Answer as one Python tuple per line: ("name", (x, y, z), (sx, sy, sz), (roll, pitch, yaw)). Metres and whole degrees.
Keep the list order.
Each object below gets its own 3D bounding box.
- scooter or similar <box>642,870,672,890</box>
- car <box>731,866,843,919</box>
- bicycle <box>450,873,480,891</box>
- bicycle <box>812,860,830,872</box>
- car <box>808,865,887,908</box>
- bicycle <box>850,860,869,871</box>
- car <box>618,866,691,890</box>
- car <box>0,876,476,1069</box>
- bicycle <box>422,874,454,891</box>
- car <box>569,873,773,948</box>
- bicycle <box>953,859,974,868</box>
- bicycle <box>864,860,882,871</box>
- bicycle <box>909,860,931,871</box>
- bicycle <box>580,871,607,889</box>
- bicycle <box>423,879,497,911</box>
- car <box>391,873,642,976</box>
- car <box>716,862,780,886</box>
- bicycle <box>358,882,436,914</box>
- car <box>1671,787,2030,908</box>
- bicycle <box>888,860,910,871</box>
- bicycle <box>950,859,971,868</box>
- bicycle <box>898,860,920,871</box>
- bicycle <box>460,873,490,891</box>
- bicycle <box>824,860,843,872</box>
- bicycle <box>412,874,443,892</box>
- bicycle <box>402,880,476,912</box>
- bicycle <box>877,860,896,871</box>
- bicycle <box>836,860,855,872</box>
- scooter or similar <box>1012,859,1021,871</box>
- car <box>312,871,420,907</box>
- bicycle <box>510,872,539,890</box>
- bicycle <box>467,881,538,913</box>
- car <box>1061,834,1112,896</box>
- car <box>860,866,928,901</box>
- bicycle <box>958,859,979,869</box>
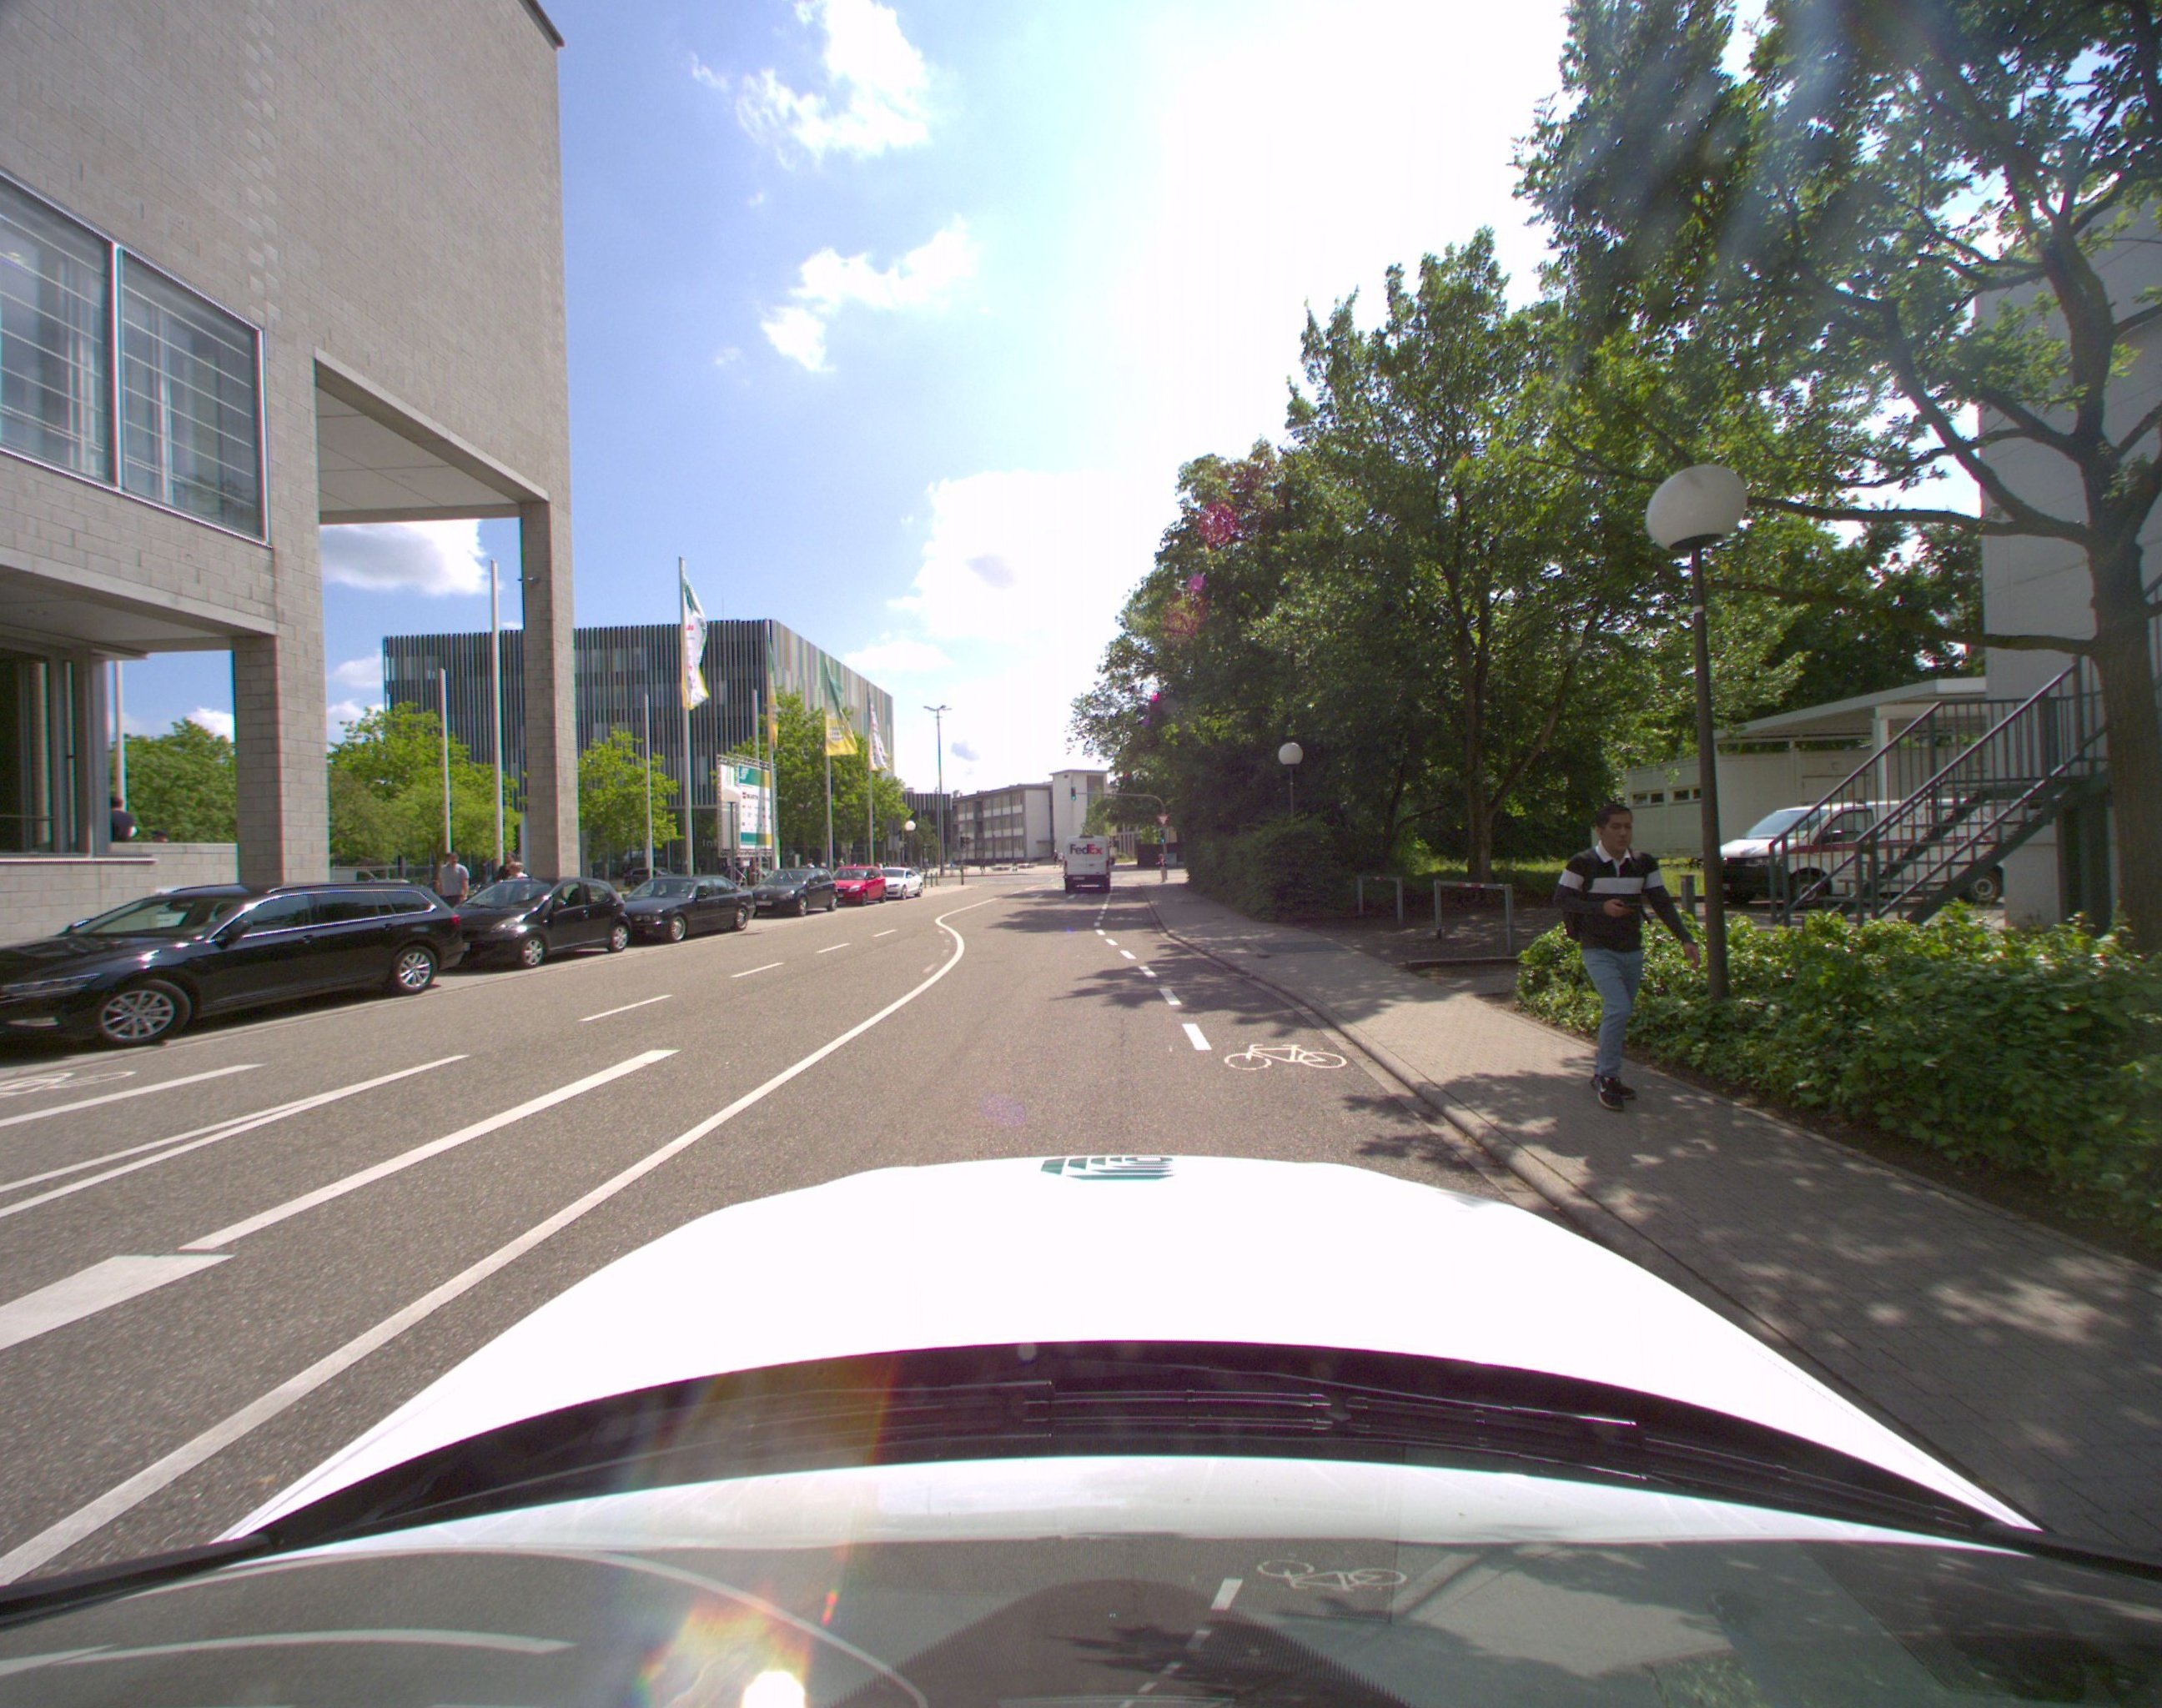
("scooter or similar", (-26.759, 1.649, 51.381), (1.719, 1.196, 0.494), (-2, 0, 8))
("car", (-9.171, 1.148, 25.822), (1.740, 1.467, 4.201), (0, 0, 4))
("bicycle", (-68.290, 3.108, 90.267), (0.955, 1.838, 2.954), (-1, -1, 4))
("bicycle", (-28.748, 1.307, 90.079), (1.205, 1.237, 2.921), (-1, -1, -32))
("car", (-8.809, 1.201, 31.039), (1.669, 1.467, 3.914), (0, 0, 3))
("bicycle", (-25.422, 1.329, 93.386), (1.205, 1.237, 2.920), (-1, -1, -34))
("car", (-33.162, 1.848, 63.384), (4.788, 1.661, 1.654), (-2, 0, 3))
("car", (-9.541, 1.040, 9.108), (1.852, 1.467, 4.722), (0, 0, 3))
("bicycle", (-71.319, 3.159, 90.359), (0.955, 1.838, 2.954), (-1, -1, 4))
("car", (-9.189, 1.184, 18.874), (1.851, 1.378, 5.022), (0, 0, 4))
("bicycle", (-18.455, 1.555, 127.811), (2.978, 1.363, 1.105), (-1, -1, -35))
("bicycle", (-24.053, 1.335, 94.121), (1.205, 1.237, 2.920), (-1, -1, -34))
("bicycle", (-19.309, 1.398, 97.706), (1.207, 1.237, 2.915), (0, -1, -43))
("bicycle", (-53.375, 2.847, 89.156), (0.954, 1.838, 2.956), (-1, -1, 6))
("bicycle", (-30.082, 1.955, 39.534), (1.009, 1.411, 2.958), (-1, 0, 8))
("car", (-9.510, 1.108, 14.136), (1.632, 1.467, 3.709), (0, 0, 3))
("car", (-25.788, 1.562, 63.125), (4.263, 1.661, 1.655), (-2, 0, 3))
("bicycle", (-33.496, 2.150, 39.944), (1.056, 1.411, 2.958), (-1, 0, 8))
("car", (14.548, -0.103, 15.672), (4.805, 2.013, 2.063), (-2, 0, 3))
("bicycle", (-21.503, 1.371, 96.075), (1.207, 1.237, 2.915), (0, -1, -43))
("bicycle", (-19.095, 1.576, 129.017), (2.978, 1.363, 1.105), (-1, -1, -35))
("bicycle", (-20.522, 1.378, 96.952), (1.207, 1.237, 2.915), (0, -1, -43))
("bicycle", (-67.129, 3.087, 90.194), (0.955, 1.838, 2.954), (-1, -1, 4))
("bicycle", (-27.683, 1.353, 91.097), (1.205, 1.237, 2.921), (-1, -1, -33))
("bicycle", (-72.502, 3.180, 90.398), (0.955, 1.838, 2.954), (-1, -1, 4))
("bicycle", (-31.226, 2.005, 39.698), (1.009, 1.411, 2.958), (-1, 0, 8))
("bicycle", (-22.782, 1.358, 95.526), (1.206, 1.237, 2.919), (-1, -1, -34))
("bicycle", (-26.568, 1.347, 91.848), (1.205, 1.237, 2.921), (-1, -1, -32))
("scooter or similar", (-6.467, 1.135, 82.057), (0.716, 1.178, 2.718), (-2, 0, -8))
("car", (-42.923, 2.089, 48.966), (4.744, 1.939, 1.866), (-2, 0, 0))
("bicycle", (-61.304, 2.986, 89.785), (0.955, 1.838, 2.954), (-1, -1, 4))
("bicycle", (-27.854, 2.053, 39.289), (1.009, 1.419, 2.958), (-1, 0, 8))
("car", (0.344, 0.460, 37.676), (2.087, 2.566, 5.605), (-2, 0, 2))
("car", (-8.238, 1.273, 36.297), (1.669, 1.395, 4.666), (0, 0, 4))
("bicycle", (-17.415, 1.539, 125.924), (2.978, 1.363, 1.105), (-1, -1, -35))
